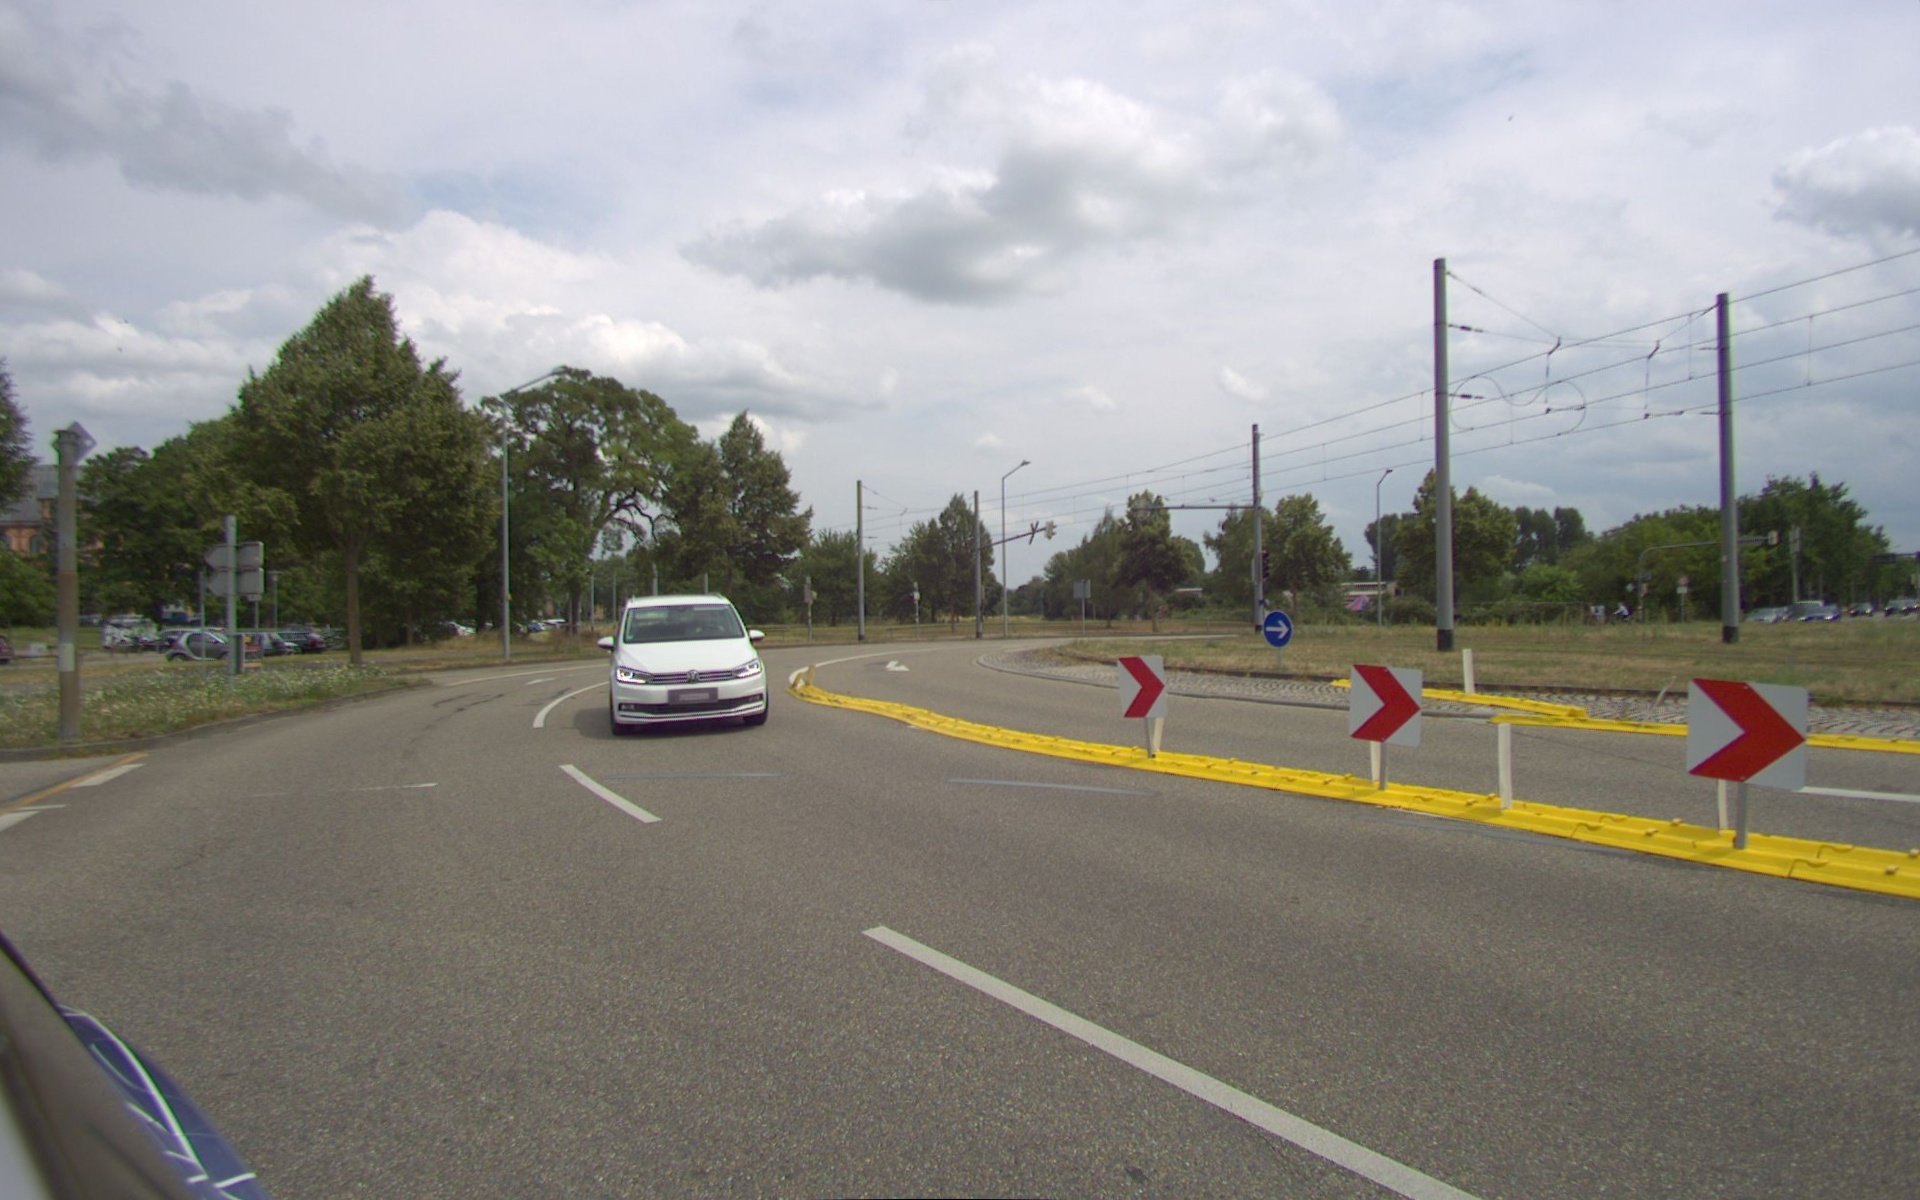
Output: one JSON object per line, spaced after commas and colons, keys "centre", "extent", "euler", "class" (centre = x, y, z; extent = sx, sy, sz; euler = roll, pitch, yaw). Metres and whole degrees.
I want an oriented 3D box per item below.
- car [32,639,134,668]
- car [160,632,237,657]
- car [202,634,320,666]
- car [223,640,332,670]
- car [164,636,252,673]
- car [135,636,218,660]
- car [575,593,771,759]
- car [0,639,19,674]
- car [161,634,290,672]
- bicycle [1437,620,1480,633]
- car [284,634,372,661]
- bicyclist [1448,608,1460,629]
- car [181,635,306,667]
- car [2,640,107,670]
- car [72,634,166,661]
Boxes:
{"centre": [-49.257, 2.988, 56.904], "extent": [3.940, 1.479, 1.823], "euler": [-1, -1, -15], "class": "car"}
{"centre": [-53.604, 3.131, 71.347], "extent": [3.940, 1.586, 1.822], "euler": [-1, -1, -15], "class": "car"}
{"centre": [-36.821, 2.625, 53.444], "extent": [4.807, 1.482, 1.838], "euler": [-1, -1, -13], "class": "car"}
{"centre": [-37.437, 2.998, 55.640], "extent": [4.631, 1.482, 1.838], "euler": [-1, -1, -13], "class": "car"}
{"centre": [-34.236, 2.470, 46.126], "extent": [2.866, 1.434, 1.488], "euler": [-3, -1, -20], "class": "car"}
{"centre": [-51.774, 3.157, 66.948], "extent": [3.940, 1.479, 1.823], "euler": [-1, -1, -15], "class": "car"}
{"centre": [-3.465, 0.805, 13.009], "extent": [1.907, 1.678, 4.364], "euler": [-2, 0, -10], "class": "car"}
{"centre": [-46.998, 2.680, 47.079], "extent": [4.334, 1.610, 2.005], "euler": [-1, -1, -13], "class": "car"}
{"centre": [-35.137, 2.507, 48.523], "extent": [4.627, 1.482, 1.838], "euler": [-3, 0, -16], "class": "car"}
{"centre": [34.804, 1.858, 70.728], "extent": [2.648, 0.861, 0.855], "euler": [-2, -1, 30], "class": "bicycle"}
{"centre": [-39.227, 2.931, 62.892], "extent": [4.314, 1.482, 1.838], "euler": [-1, -1, -13], "class": "car"}
{"centre": [34.585, 1.285, 70.838], "extent": [0.671, 1.420, 0.855], "euler": [-2, -1, 29], "class": "bicyclist"}
{"centre": [-36.109, 2.557, 51.140], "extent": [4.807, 1.482, 1.838], "euler": [-1, -1, -13], "class": "car"}
{"centre": [-48.946, 2.948, 54.777], "extent": [3.940, 1.479, 1.619], "euler": [-1, -1, -15], "class": "car"}
{"centre": [-50.335, 2.821, 60.651], "extent": [3.940, 1.479, 1.823], "euler": [-1, -1, -15], "class": "car"}
